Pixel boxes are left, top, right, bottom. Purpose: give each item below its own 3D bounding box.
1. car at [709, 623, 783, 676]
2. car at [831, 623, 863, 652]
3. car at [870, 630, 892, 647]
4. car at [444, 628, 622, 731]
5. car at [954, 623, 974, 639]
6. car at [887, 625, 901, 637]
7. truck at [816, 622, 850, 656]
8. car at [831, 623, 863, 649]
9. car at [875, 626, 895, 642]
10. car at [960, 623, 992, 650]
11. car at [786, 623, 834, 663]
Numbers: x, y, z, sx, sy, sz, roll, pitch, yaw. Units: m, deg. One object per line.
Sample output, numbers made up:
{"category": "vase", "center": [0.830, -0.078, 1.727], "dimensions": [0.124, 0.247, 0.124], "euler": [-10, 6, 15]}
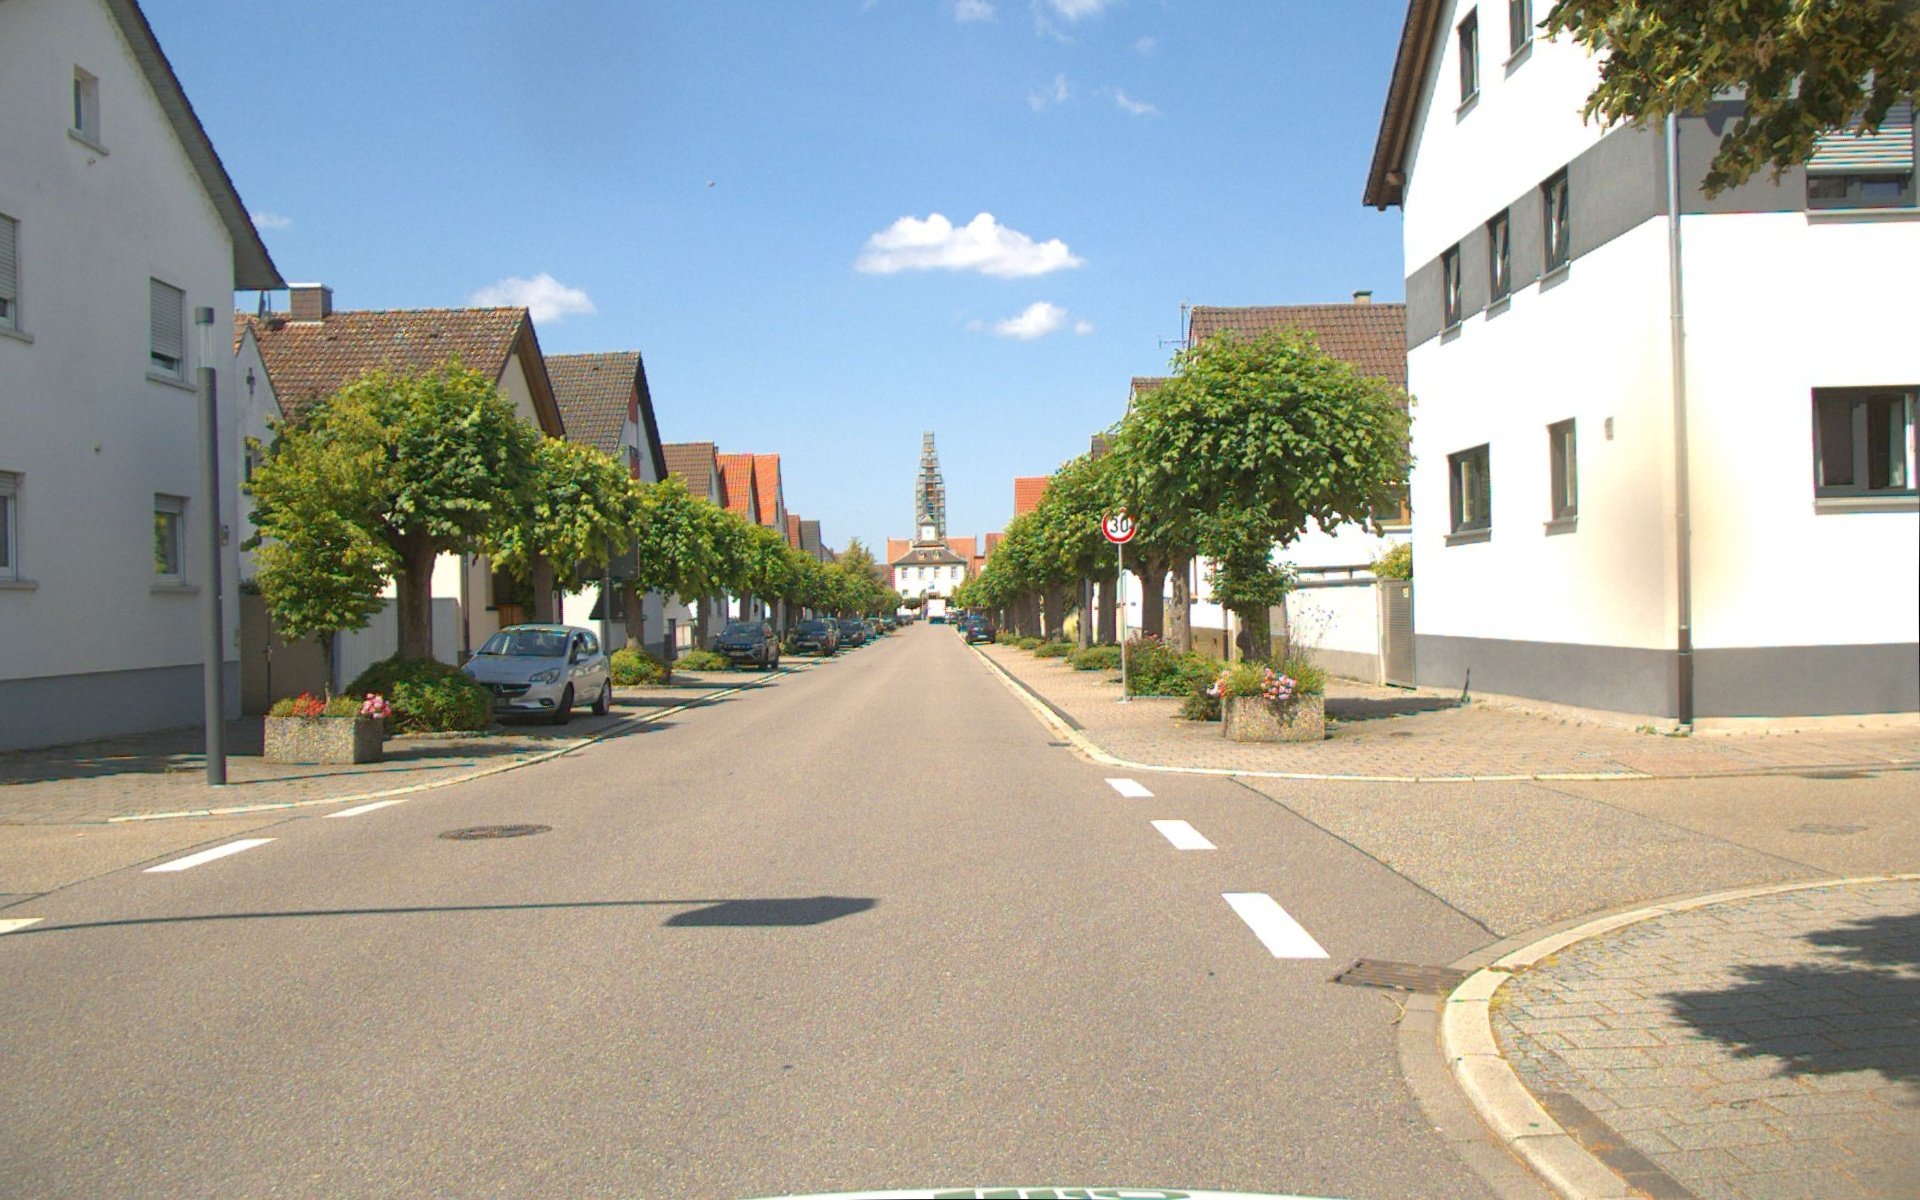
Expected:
{"category": "car", "center": [-6.982, 1.597, 54.347], "dimensions": [1.814, 1.641, 4.135], "euler": [1, -1, 1]}
{"category": "car", "center": [-6.831, 2.244, 99.644], "dimensions": [1.751, 1.662, 3.994], "euler": [0, -1, -6]}
{"category": "car", "center": [-7.710, 3.729, 161.596], "dimensions": [1.953, 1.640, 4.688], "euler": [0, -1, 0]}
{"category": "car", "center": [-6.724, 1.219, 26.493], "dimensions": [1.787, 1.509, 4.131], "euler": [1, -1, 0]}
{"category": "car", "center": [0.390, 3.172, 169.732], "dimensions": [1.800, 1.582, 4.312], "euler": [-3, -1, -1]}
{"category": "car", "center": [-9.010, 4.212, 226.596], "dimensions": [1.722, 1.582, 4.019], "euler": [-2, -1, 0]}
{"category": "truck", "center": [-6.966, 2.143, 90.975], "dimensions": [1.544, 1.796, 4.191], "euler": [1, -1, -1]}
{"category": "car", "center": [-7.331, 2.345, 107.484], "dimensions": [1.815, 1.664, 4.055], "euler": [0, -1, -1]}
{"category": "car", "center": [-8.324, 3.770, 183.742], "dimensions": [1.953, 1.639, 4.689], "euler": [1, 0, 0]}
{"category": "car", "center": [0.945, 2.206, 100.143], "dimensions": [1.787, 1.457, 4.056], "euler": [-4, 0, -1]}
{"category": "car", "center": [-6.715, 1.908, 74.470], "dimensions": [1.815, 1.665, 4.298], "euler": [1, 0, -1]}
